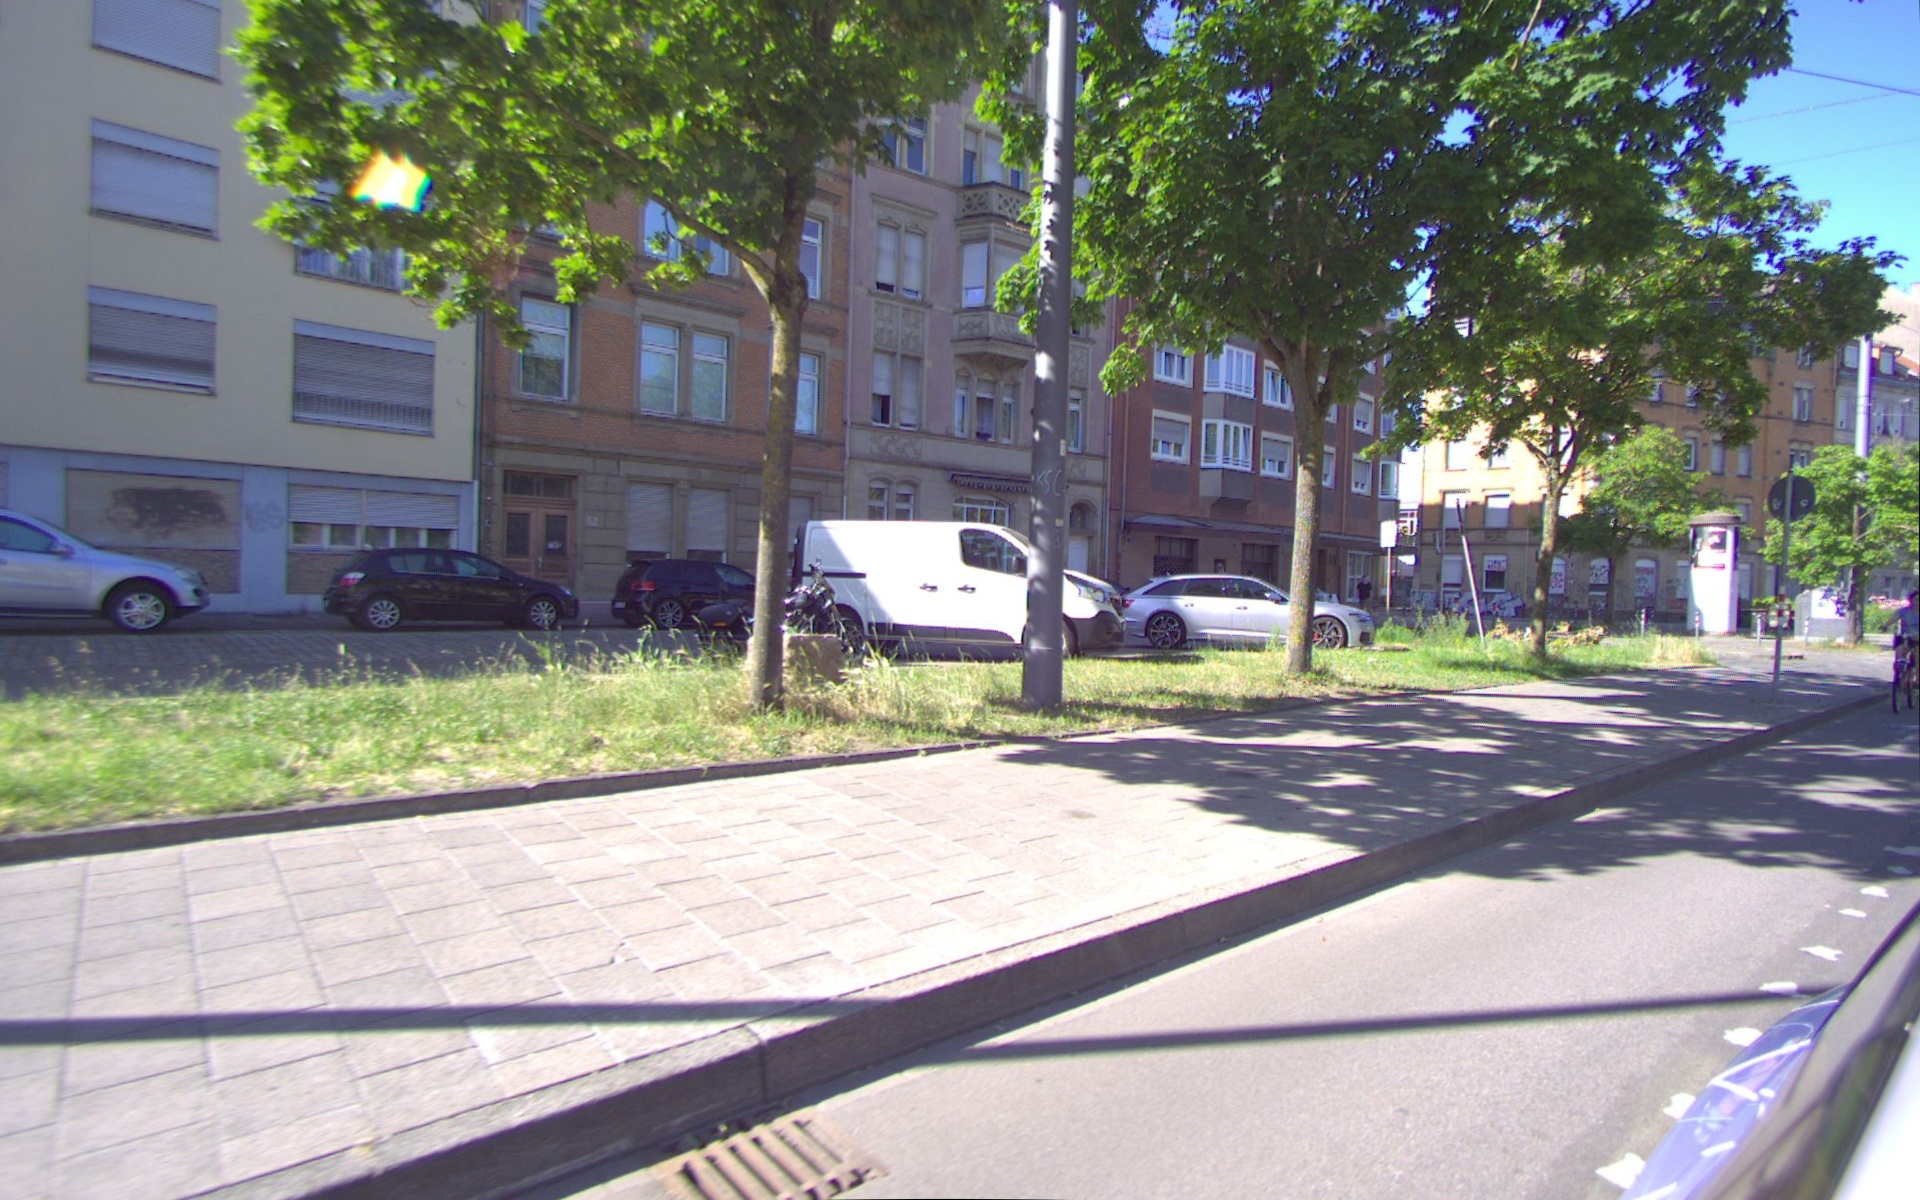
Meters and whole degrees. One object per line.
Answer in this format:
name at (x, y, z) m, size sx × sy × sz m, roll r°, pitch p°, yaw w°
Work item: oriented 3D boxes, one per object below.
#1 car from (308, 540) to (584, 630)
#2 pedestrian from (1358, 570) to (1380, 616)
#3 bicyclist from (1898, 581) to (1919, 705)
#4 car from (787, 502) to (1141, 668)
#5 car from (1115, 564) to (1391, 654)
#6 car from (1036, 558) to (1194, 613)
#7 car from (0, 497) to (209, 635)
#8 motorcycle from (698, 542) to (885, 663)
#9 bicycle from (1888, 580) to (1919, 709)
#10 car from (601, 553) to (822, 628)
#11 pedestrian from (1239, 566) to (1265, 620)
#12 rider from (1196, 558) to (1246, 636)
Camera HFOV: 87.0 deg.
car at (-9.146, -0.255, 18.169) m, size 4.090 × 1.438 × 1.882 m, roll 1°, pitch 2°, yaw -40°
pedestrian at (16.151, -0.268, 39.953) m, size 0.630 × 1.782 × 0.592 m, roll 0°, pitch 0°, yaw -39°
bicyclist at (13.228, 0.579, 13.864) m, size 0.765 × 1.659 × 0.438 m, roll 0°, pitch 0°, yaw -39°
car at (0.109, -0.276, 14.881) m, size 4.812 × 2.101 × 2.011 m, roll 2°, pitch 1°, yaw 16°
car at (5.564, 0.114, 19.521) m, size 4.815 × 1.452 × 2.010 m, roll 2°, pitch 2°, yaw 18°
car at (4.531, -0.408, 29.269) m, size 4.407 × 1.493 × 1.999 m, roll -1°, pitch 0°, yaw -37°
car at (-13.437, -0.495, 14.185) m, size 4.545 × 1.822 × 1.998 m, roll 1°, pitch 2°, yaw -41°
motorcycle at (-2.131, 0.015, 12.996) m, size 2.219 × 1.438 × 0.855 m, roll 2°, pitch 1°, yaw 1°
bicycle at (13.115, 0.577, 13.765) m, size 1.904 × 1.659 × 0.438 m, roll 0°, pitch 2°, yaw -40°
car at (-5.192, -0.202, 21.439) m, size 4.217 × 1.438 × 1.732 m, roll 1°, pitch 1°, yaw -40°
pedestrian at (9.828, -0.244, 34.048) m, size 0.604 × 1.780 × 0.571 m, roll 0°, pitch 1°, yaw -37°
rider at (6.296, -0.086, 24.408) m, size 0.954 × 1.843 × 1.030 m, roll 1°, pitch 0°, yaw 28°
